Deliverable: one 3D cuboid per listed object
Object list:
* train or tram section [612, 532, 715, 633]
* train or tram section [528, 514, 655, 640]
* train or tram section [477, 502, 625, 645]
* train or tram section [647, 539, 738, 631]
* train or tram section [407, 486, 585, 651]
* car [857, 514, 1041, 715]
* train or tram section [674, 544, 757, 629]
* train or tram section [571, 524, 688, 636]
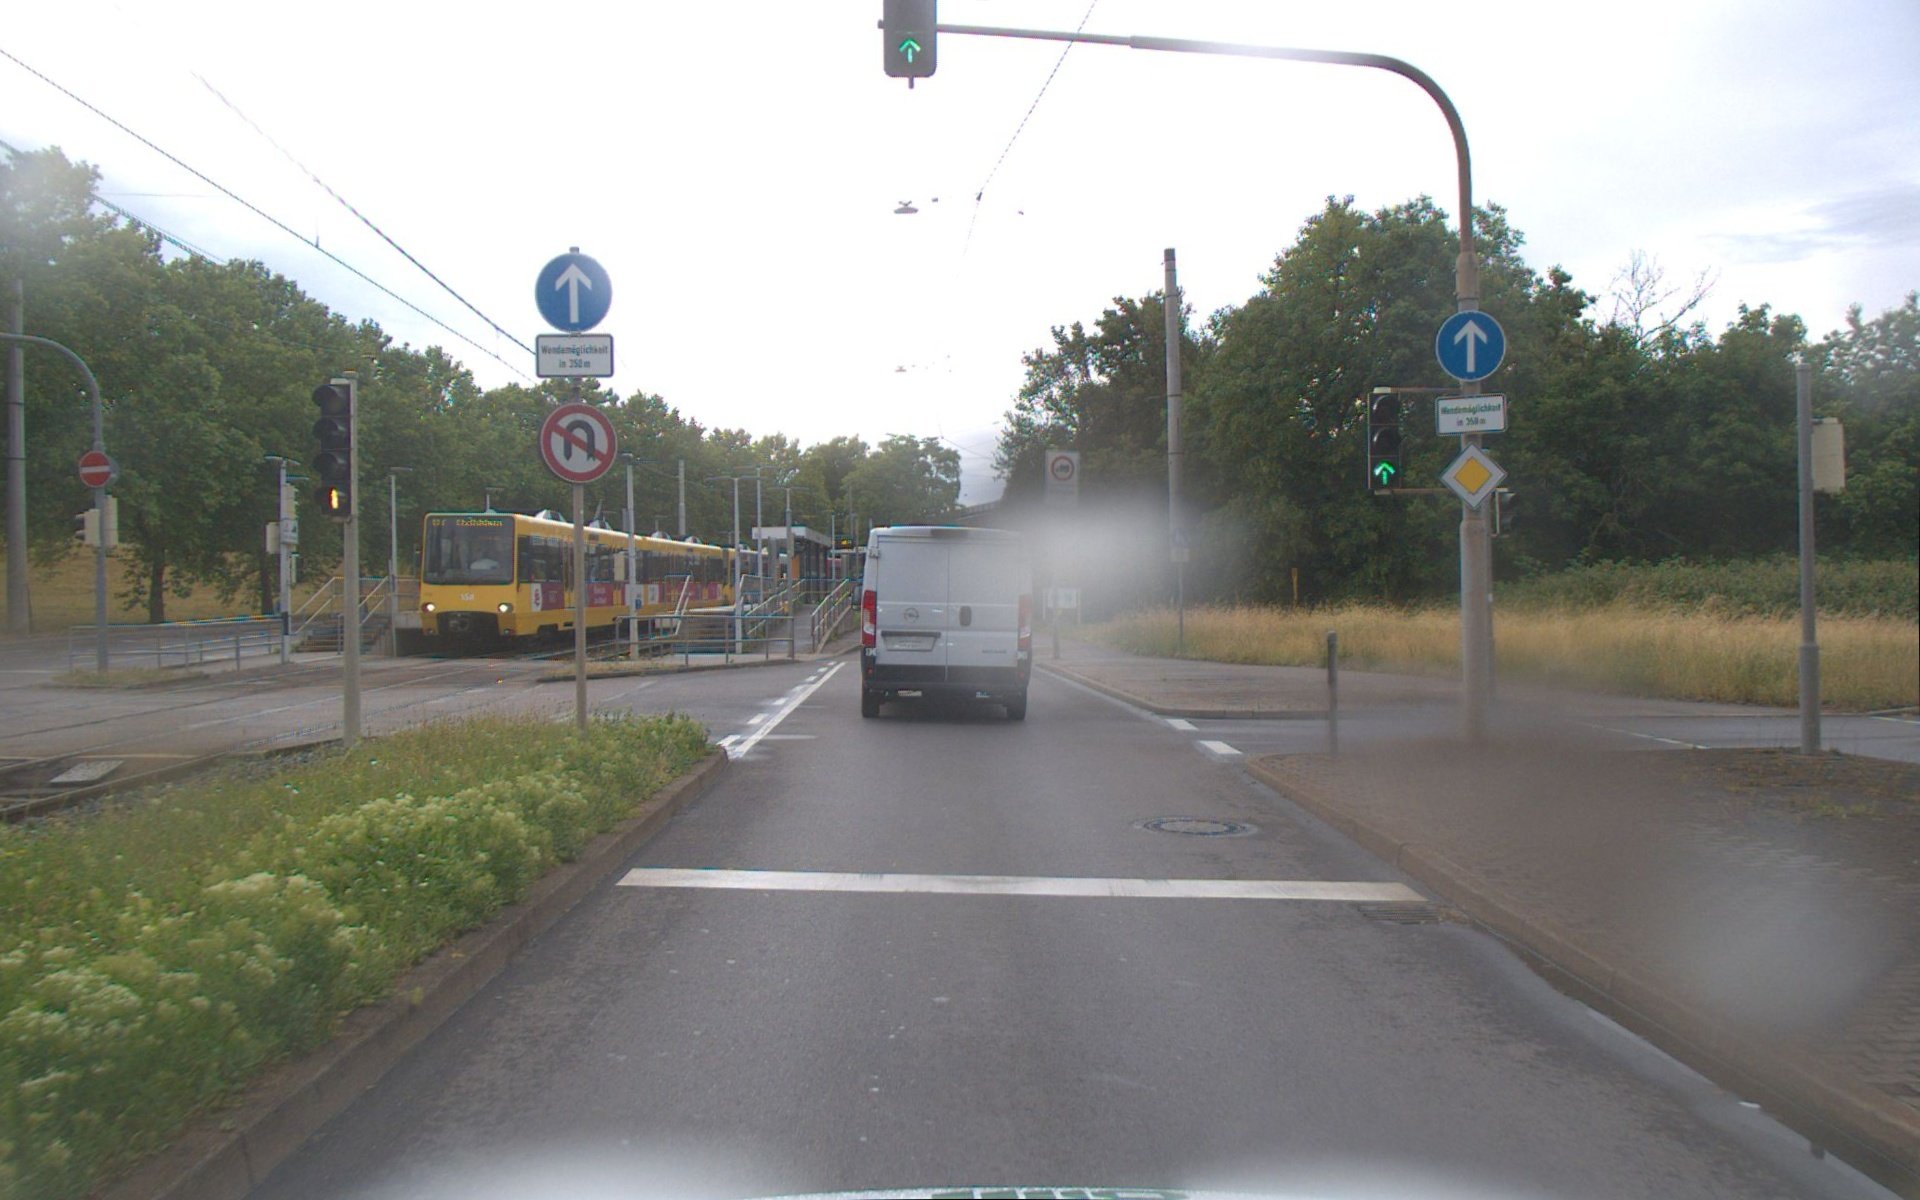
[{"bbox_3d":[-12.447,-0.687,70.061,2.868,4.001,7.006,2,0,1],"label":"train or tram section"},{"bbox_3d":[-12.626,-0.736,57.293,2.869,4.001,7.003,2,0,-2],"label":"train or tram section"},{"bbox_3d":[-12.465,-0.753,51.051,2.869,4.001,7.003,2,0,-2],"label":"train or tram section"},{"bbox_3d":[-12.307,-0.660,76.710,2.868,4.001,7.006,2,0,1],"label":"train or tram section"},{"bbox_3d":[-12.308,-0.770,44.542,2.869,4.001,7.003,2,0,-2],"label":"train or tram section"},{"bbox_3d":[-0.261,0.148,21.316,2.049,2.235,5.058,1,0,-3],"label":"car"},{"bbox_3d":[-12.177,-0.635,82.920,2.868,4.001,7.006,2,0,1],"label":"train or tram section"},{"bbox_3d":[-12.620,-0.714,63.832,2.868,4.001,7.006,2,0,1],"label":"train or tram section"}]
